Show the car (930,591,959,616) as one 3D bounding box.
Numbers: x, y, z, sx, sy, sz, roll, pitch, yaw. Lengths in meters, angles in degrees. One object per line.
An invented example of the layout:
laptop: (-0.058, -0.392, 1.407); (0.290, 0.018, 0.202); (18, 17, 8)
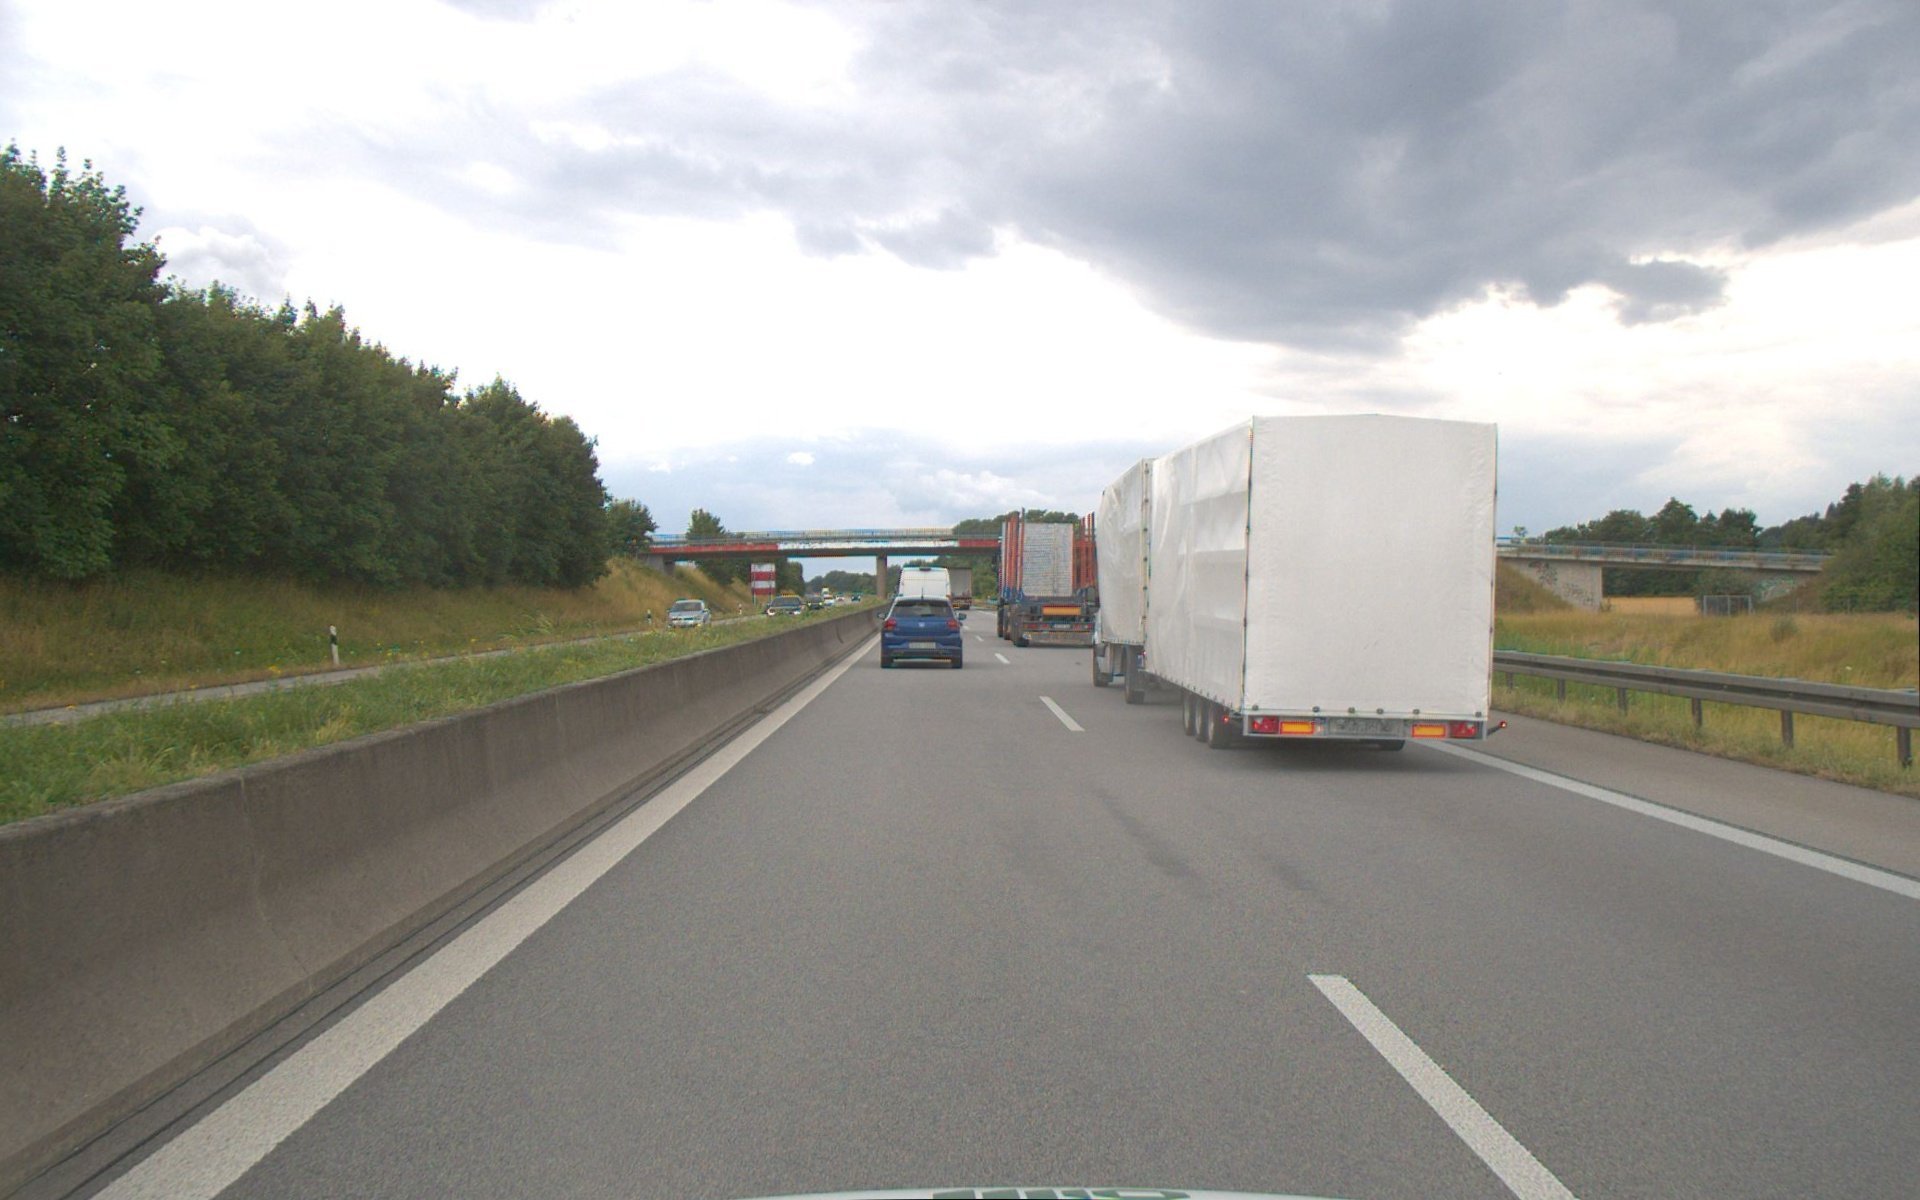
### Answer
car: (-0.911, 0.171, 97.291); (1.630, 1.431, 3.647); (0, 1, -2)

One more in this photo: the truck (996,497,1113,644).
truck: (2.805, -0.916, 52.327); (2.619, 4.116, 11.103); (-1, 1, -2)

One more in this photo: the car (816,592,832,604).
car: (-18.314, -0.291, 222.740); (1.857, 1.487, 4.540); (-3, 0, -1)

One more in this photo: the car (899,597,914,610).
car: (-7.131, 0.408, 219.283); (1.953, 1.713, 3.999); (0, 0, -1)

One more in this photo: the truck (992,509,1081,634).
truck: (2.600, -0.990, 57.714); (2.619, 4.116, 5.510); (-1, 1, -2)

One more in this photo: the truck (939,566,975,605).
truck: (-0.349, -1.420, 166.245); (3.048, 3.754, 9.318); (-2, 0, -3)

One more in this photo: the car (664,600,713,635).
car: (-11.954, 0.756, 73.011); (1.613, 1.434, 3.886); (-3, 0, -2)

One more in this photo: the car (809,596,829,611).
car: (-14.419, 0.329, 169.301); (1.613, 1.402, 4.234); (-3, 0, -1)

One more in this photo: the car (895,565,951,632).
car: (-1.455, -0.060, 65.519); (2.087, 2.526, 5.838); (0, 0, -1)

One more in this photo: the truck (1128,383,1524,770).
truck: (3.488, -0.215, 17.652); (2.366, 3.278, 7.140); (0, 0, -2)

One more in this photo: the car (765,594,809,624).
car: (-8.838, 0.453, 84.696); (1.811, 1.402, 4.599); (-3, 0, -1)

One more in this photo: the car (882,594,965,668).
car: (-0.784, 0.613, 34.714); (1.630, 1.431, 3.647); (0, 1, -2)

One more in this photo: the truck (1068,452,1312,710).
truck: (3.196, -0.255, 24.870); (2.381, 3.300, 7.244); (0, 0, -2)
